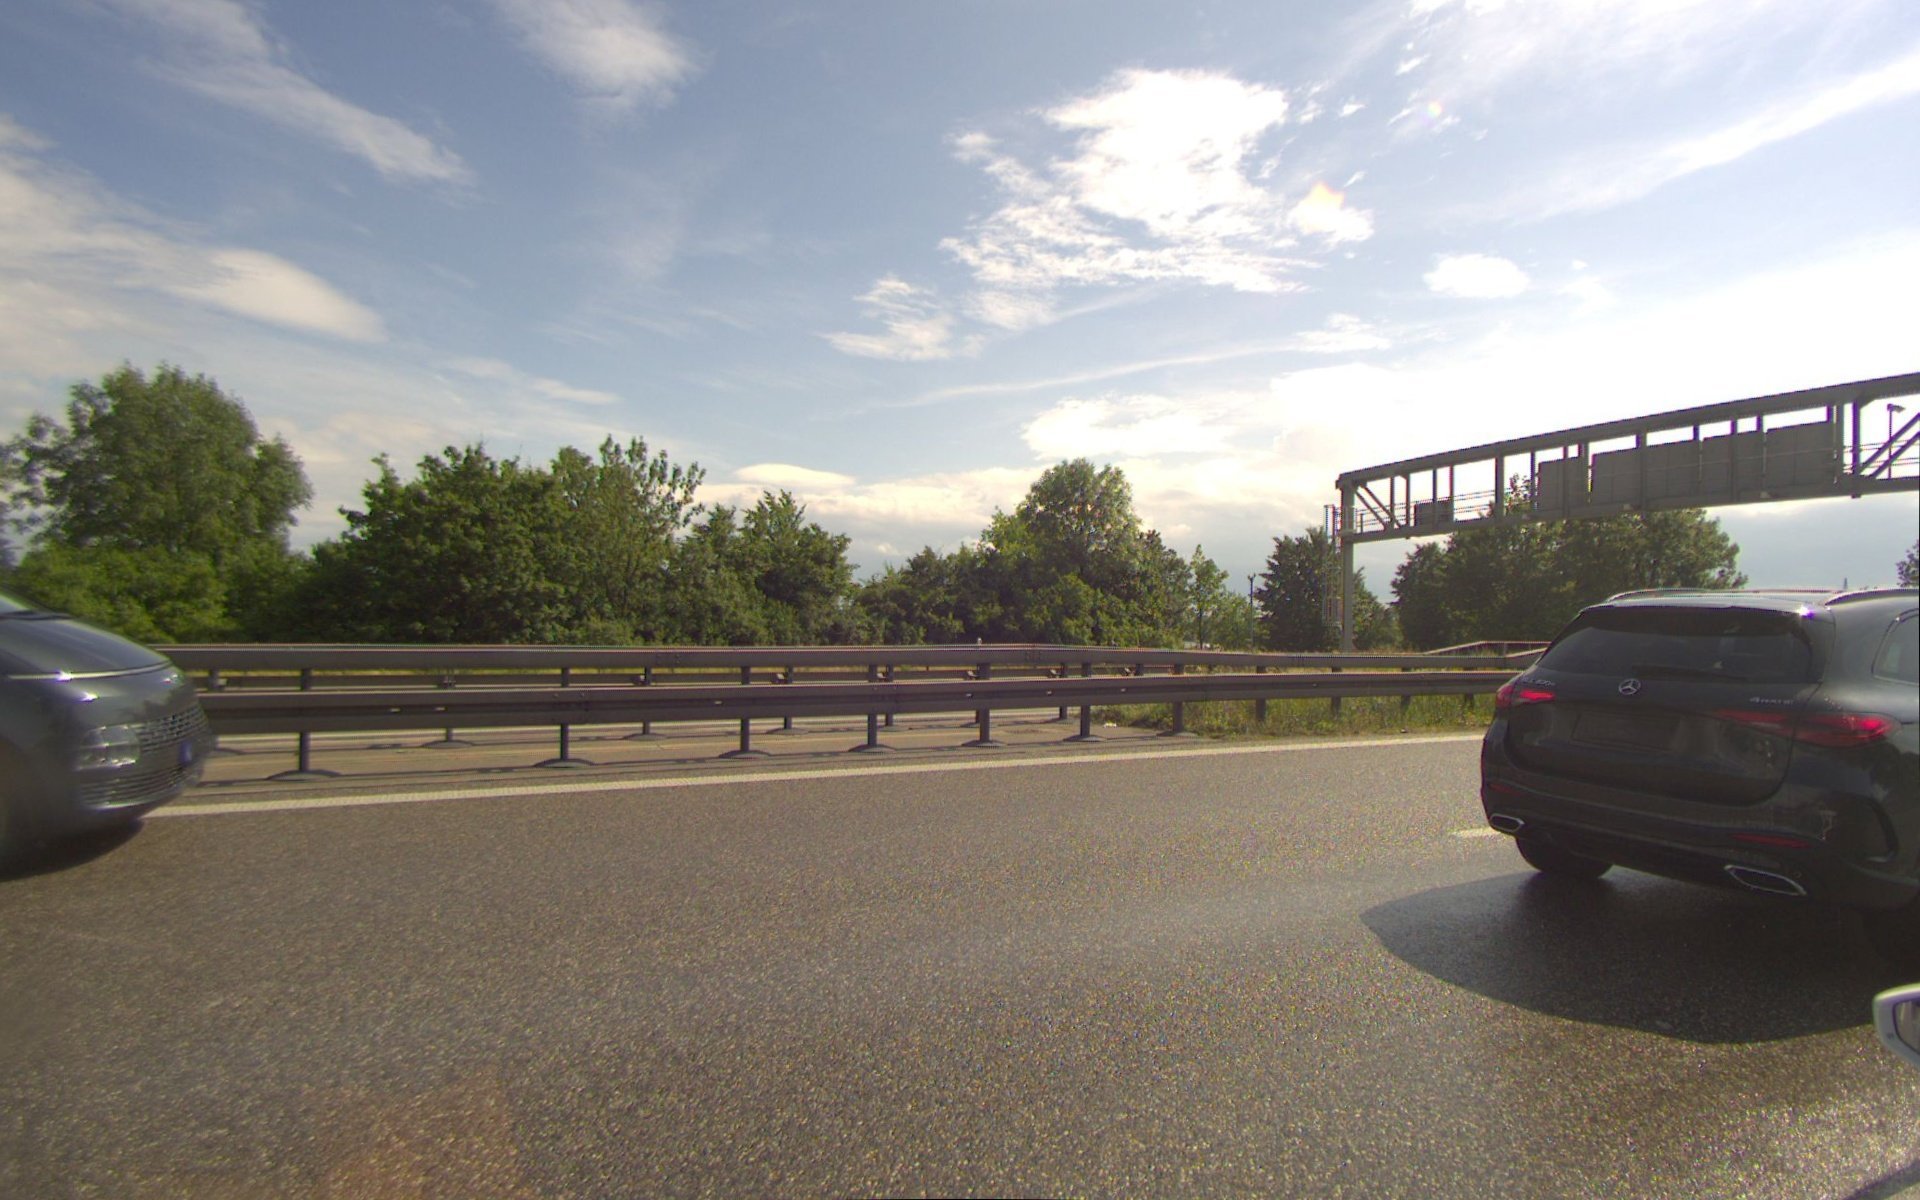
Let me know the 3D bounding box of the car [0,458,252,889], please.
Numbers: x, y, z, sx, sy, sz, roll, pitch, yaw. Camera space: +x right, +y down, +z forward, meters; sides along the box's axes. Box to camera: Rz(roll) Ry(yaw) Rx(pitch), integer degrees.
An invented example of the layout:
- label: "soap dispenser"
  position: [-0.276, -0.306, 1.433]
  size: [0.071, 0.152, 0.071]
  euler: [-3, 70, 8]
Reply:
- label: "car"
  position: [-6.703, 0.300, 4.742]
  size: [5.202, 2.040, 1.986]
  euler: [2, 0, -27]

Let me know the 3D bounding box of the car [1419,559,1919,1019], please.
- label: "car"
  position: [4.881, 0.751, 5.574]
  size: [4.350, 1.683, 1.986]
  euler: [2, -1, -27]

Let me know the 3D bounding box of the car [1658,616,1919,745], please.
- label: "car"
  position: [11.739, 1.029, 13.791]
  size: [4.153, 1.537, 1.751]
  euler: [2, -1, -26]
